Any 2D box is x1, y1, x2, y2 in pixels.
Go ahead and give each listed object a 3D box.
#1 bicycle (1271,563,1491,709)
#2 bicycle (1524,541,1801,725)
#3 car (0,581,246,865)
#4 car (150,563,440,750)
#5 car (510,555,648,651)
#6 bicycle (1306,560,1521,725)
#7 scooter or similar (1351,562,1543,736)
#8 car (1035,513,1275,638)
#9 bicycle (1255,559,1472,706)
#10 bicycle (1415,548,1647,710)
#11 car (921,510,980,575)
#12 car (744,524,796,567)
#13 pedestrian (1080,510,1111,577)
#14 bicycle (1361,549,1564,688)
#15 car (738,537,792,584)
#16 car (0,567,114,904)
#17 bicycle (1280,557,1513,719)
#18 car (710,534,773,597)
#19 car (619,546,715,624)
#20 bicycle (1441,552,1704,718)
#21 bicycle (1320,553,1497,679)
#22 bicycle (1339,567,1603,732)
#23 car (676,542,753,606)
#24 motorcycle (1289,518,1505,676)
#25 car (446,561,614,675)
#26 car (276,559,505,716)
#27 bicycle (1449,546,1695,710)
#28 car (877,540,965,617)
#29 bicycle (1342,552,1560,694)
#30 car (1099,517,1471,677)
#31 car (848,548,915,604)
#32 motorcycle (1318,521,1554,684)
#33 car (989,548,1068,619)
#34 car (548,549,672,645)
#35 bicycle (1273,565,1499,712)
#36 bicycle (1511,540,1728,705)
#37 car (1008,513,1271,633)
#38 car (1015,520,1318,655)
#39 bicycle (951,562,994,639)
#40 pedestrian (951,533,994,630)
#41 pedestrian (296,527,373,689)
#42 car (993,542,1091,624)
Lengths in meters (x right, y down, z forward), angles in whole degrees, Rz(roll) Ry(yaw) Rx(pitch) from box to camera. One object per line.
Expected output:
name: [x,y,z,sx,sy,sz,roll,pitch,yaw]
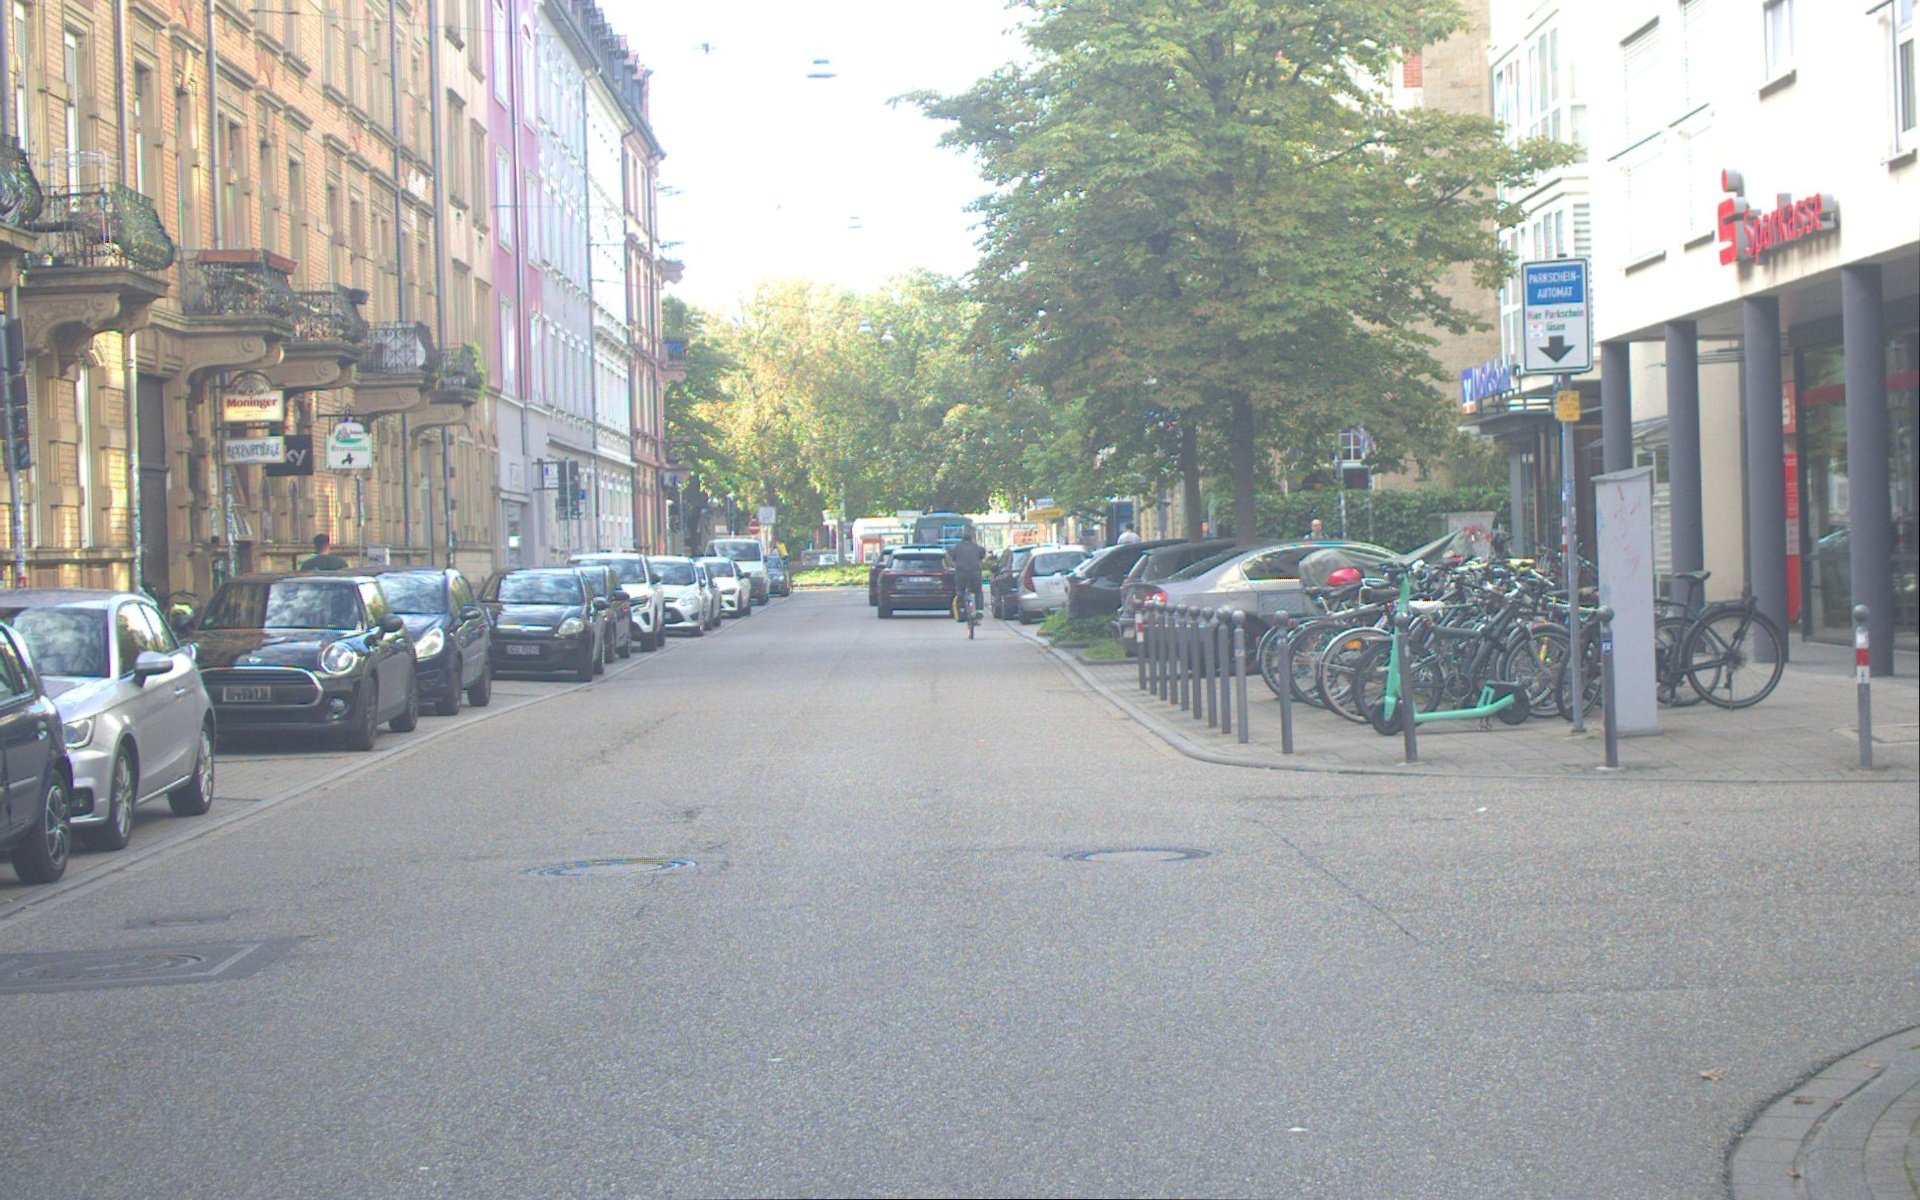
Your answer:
bicycle: [3.579,0.302,29.269,1.765,1.115,0.411,-4,1,3]
bicycle: [4.935,0.226,24.224,1.765,1.158,0.650,-4,1,2]
car: [-5.352,0.631,19.764,1.690,1.382,3.867,0,2,0]
car: [-5.500,0.422,28.844,1.690,1.382,3.867,0,2,0]
car: [-5.880,0.018,53.421,1.690,1.365,3.867,2,1,0]
bicycle: [3.427,0.315,26.009,1.495,1.142,0.411,-4,1,-5]
scooter or similar: [3.398,0.350,24.013,1.207,1.143,0.378,-3,2,31]
car: [3.379,-0.439,59.637,3.987,1.678,1.737,-4,9,4]
bicycle: [3.538,0.281,30.203,1.794,1.155,0.500,-4,1,3]
bicycle: [4.505,0.219,27.096,1.765,1.142,0.411,-4,1,-20]
car: [-0.314,-1.830,108.438,1.782,2.013,3.888,0,1,-1]
car: [-6.898,-2.005,125.003,1.587,1.533,3.753,0,1,1]
pedestrian: [4.499,-1.874,114.463,0.995,2.222,0.898,0,1,0]
bicycle: [4.605,0.165,31.551,1.732,1.155,0.500,-4,1,1]
car: [-6.567,-1.337,116.266,1.690,1.545,3.867,0,1,-1]
car: [-5.218,0.634,15.678,1.741,1.478,3.984,0,2,0]
bicycle: [3.453,0.290,27.161,1.765,1.142,0.411,-4,1,-20]
car: [-6.402,-1.008,101.154,1.690,1.815,3.867,0,1,-1]
car: [-5.887,-0.318,69.452,1.690,1.545,3.867,0,1,-1]
bicycle: [4.488,0.250,25.270,1.765,1.083,0.650,-4,1,2]
bicycle: [4.542,0.155,34.845,1.664,1.155,0.557,-4,1,1]
bicycle: [3.654,0.350,24.626,1.765,1.053,0.411,-4,1,-5]
car: [-6.032,-0.649,84.658,1.690,1.545,3.867,0,1,-1]
motorcycle: [4.632,-0.040,36.534,2.150,1.525,0.686,-4,1,4]
car: [-5.601,0.204,45.157,1.690,1.365,3.867,2,1,0]
car: [-5.700,0.336,34.795,1.690,1.432,3.867,0,2,0]
bicycle: [4.734,0.212,26.593,1.765,1.142,0.411,-4,1,-6]
car: [-0.902,-0.484,79.652,1.965,1.735,4.041,0,0,-1]
bicycle: [4.368,0.209,30.611,1.796,1.155,0.499,-3,2,26]
car: [3.633,-0.034,38.733,3.759,1.541,1.731,-4,0,-11]
car: [-2.169,-0.682,94.730,1.797,1.467,3.888,0,1,-1]
motorcycle: [4.622,0.020,33.498,2.150,1.430,0.765,-4,1,4]
car: [1.501,-0.384,76.290,1.690,1.545,3.688,0,1,0]
car: [-5.821,-0.072,57.470,1.690,1.545,3.867,0,1,0]
bicycle: [3.527,0.318,28.525,1.765,1.095,0.411,-4,1,3]
bicycle: [4.992,0.164,26.054,1.495,1.142,0.411,-4,1,0]
car: [2.865,-0.442,54.435,3.987,1.634,2.000,-3,1,5]
car: [2.857,-0.188,47.304,3.987,1.578,2.000,-3,1,5]
bicycle: [0.212,-0.004,58.869,0.718,1.270,1.884,0,1,0]
pedestrian: [0.212,-0.316,58.982,0.718,1.644,0.930,0,1,0]
pedestrian: [-7.225,0.076,39.724,0.689,1.847,0.931,0,1,1]
car: [1.688,-0.384,71.774,1.930,1.632,4.000,0,1,0]
